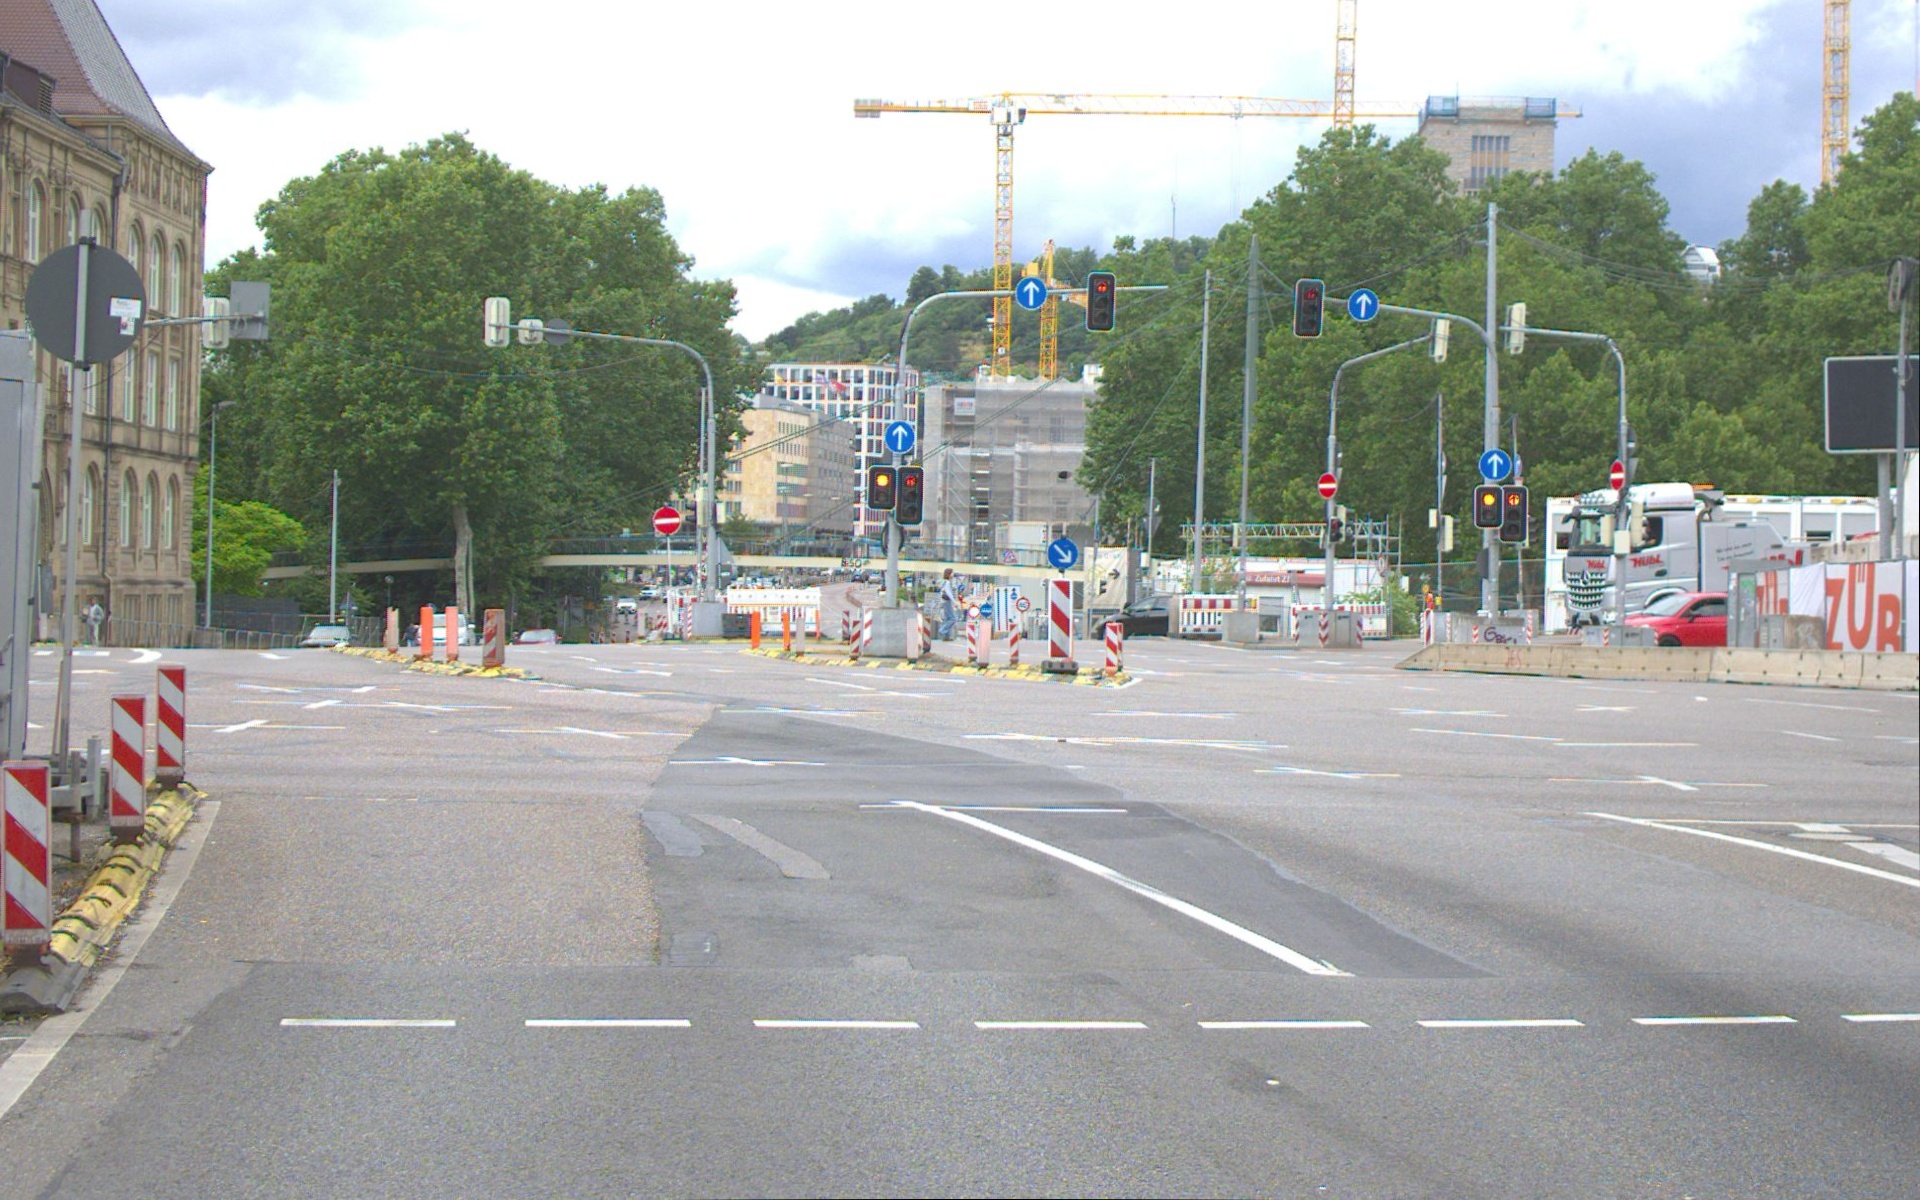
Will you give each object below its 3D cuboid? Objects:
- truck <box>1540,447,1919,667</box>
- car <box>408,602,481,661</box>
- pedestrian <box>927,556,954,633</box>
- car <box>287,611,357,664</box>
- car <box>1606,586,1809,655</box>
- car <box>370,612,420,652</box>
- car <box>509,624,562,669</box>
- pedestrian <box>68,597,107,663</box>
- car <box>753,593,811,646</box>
[{"bbox_3d":[18.674,-0.954,80.510,9.712,4.943,3.114,1,0,-20],"label":"truck"},{"bbox_3d":[-16.826,1.015,112.356,1.993,1.831,4.001,1,1,-3],"label":"car"},{"bbox_3d":[-0.472,-0.135,81.785,0.585,1.834,0.604,1,0,-4],"label":"pedestrian"},{"bbox_3d":[-23.290,1.363,125.607,1.993,1.831,4.001,1,1,-3],"label":"car"},{"bbox_3d":[15.772,0.429,72.575,3.806,1.381,1.805,1,1,-22],"label":"car"},{"bbox_3d":[-27.619,1.547,168.137,1.993,1.831,4.001,1,1,-3],"label":"car"},{"bbox_3d":[-18.484,2.013,149.905,1.993,1.831,4.001,1,1,-3],"label":"car"},{"bbox_3d":[-26.861,0.909,105.827,0.950,2.007,0.766,1,0,2],"label":"pedestrian"},{"bbox_3d":[-7.117,0.764,137.005,1.993,2.007,4.001,1,1,-7],"label":"car"}]
